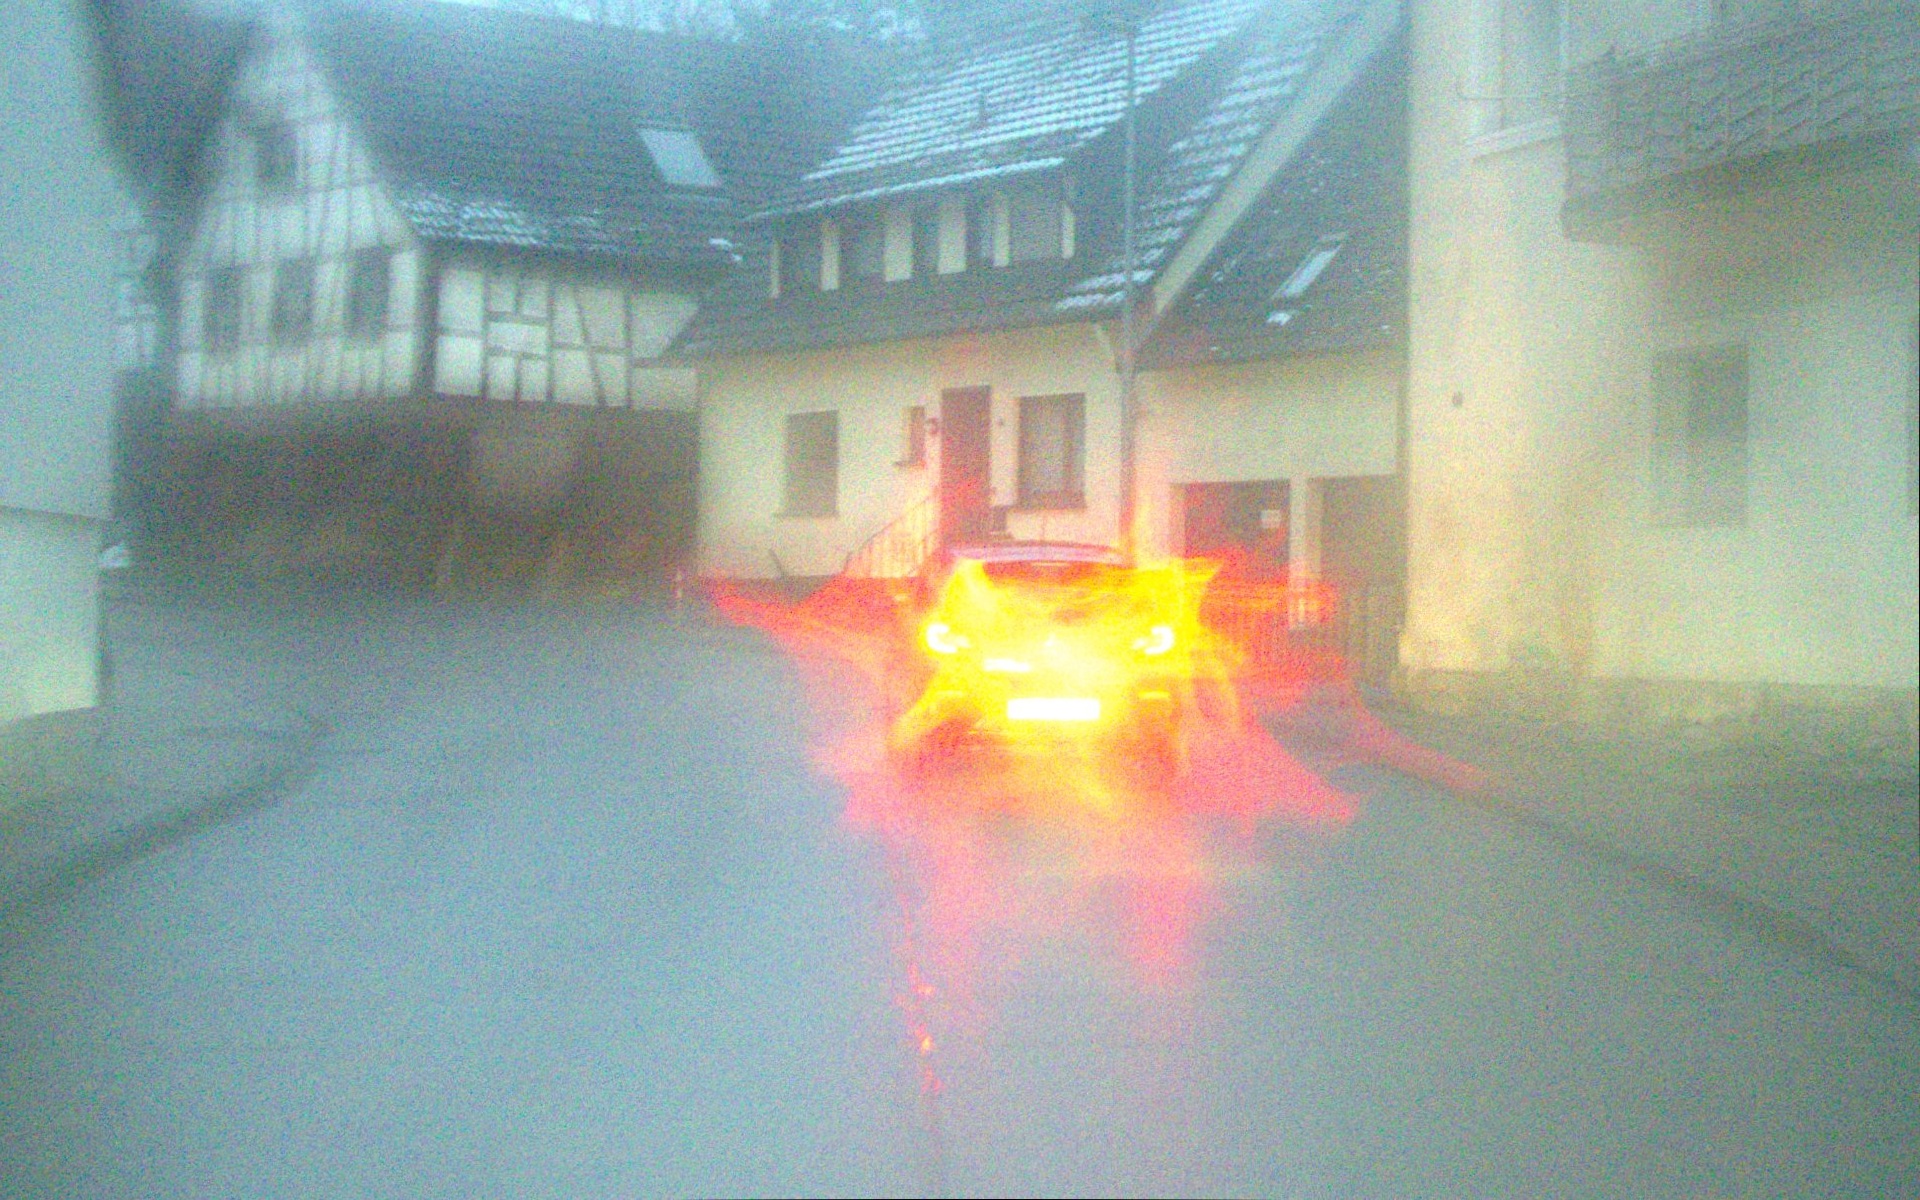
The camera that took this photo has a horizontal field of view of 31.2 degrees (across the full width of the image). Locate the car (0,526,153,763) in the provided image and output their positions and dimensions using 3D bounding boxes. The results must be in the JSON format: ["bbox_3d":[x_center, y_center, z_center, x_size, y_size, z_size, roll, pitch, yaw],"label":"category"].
[{"bbox_3d":[-6.520,0.227,22.351,1.618,1.416,3.803,2,0,0],"label":"car"}]

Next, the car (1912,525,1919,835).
[{"bbox_3d":[6.066,0.359,14.695,1.806,1.482,4.279,-1,0,-17],"label":"car"}]

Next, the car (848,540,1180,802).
[{"bbox_3d":[0.258,0.386,21.824,1.545,1.461,3.699,2,1,-7],"label":"car"}]
